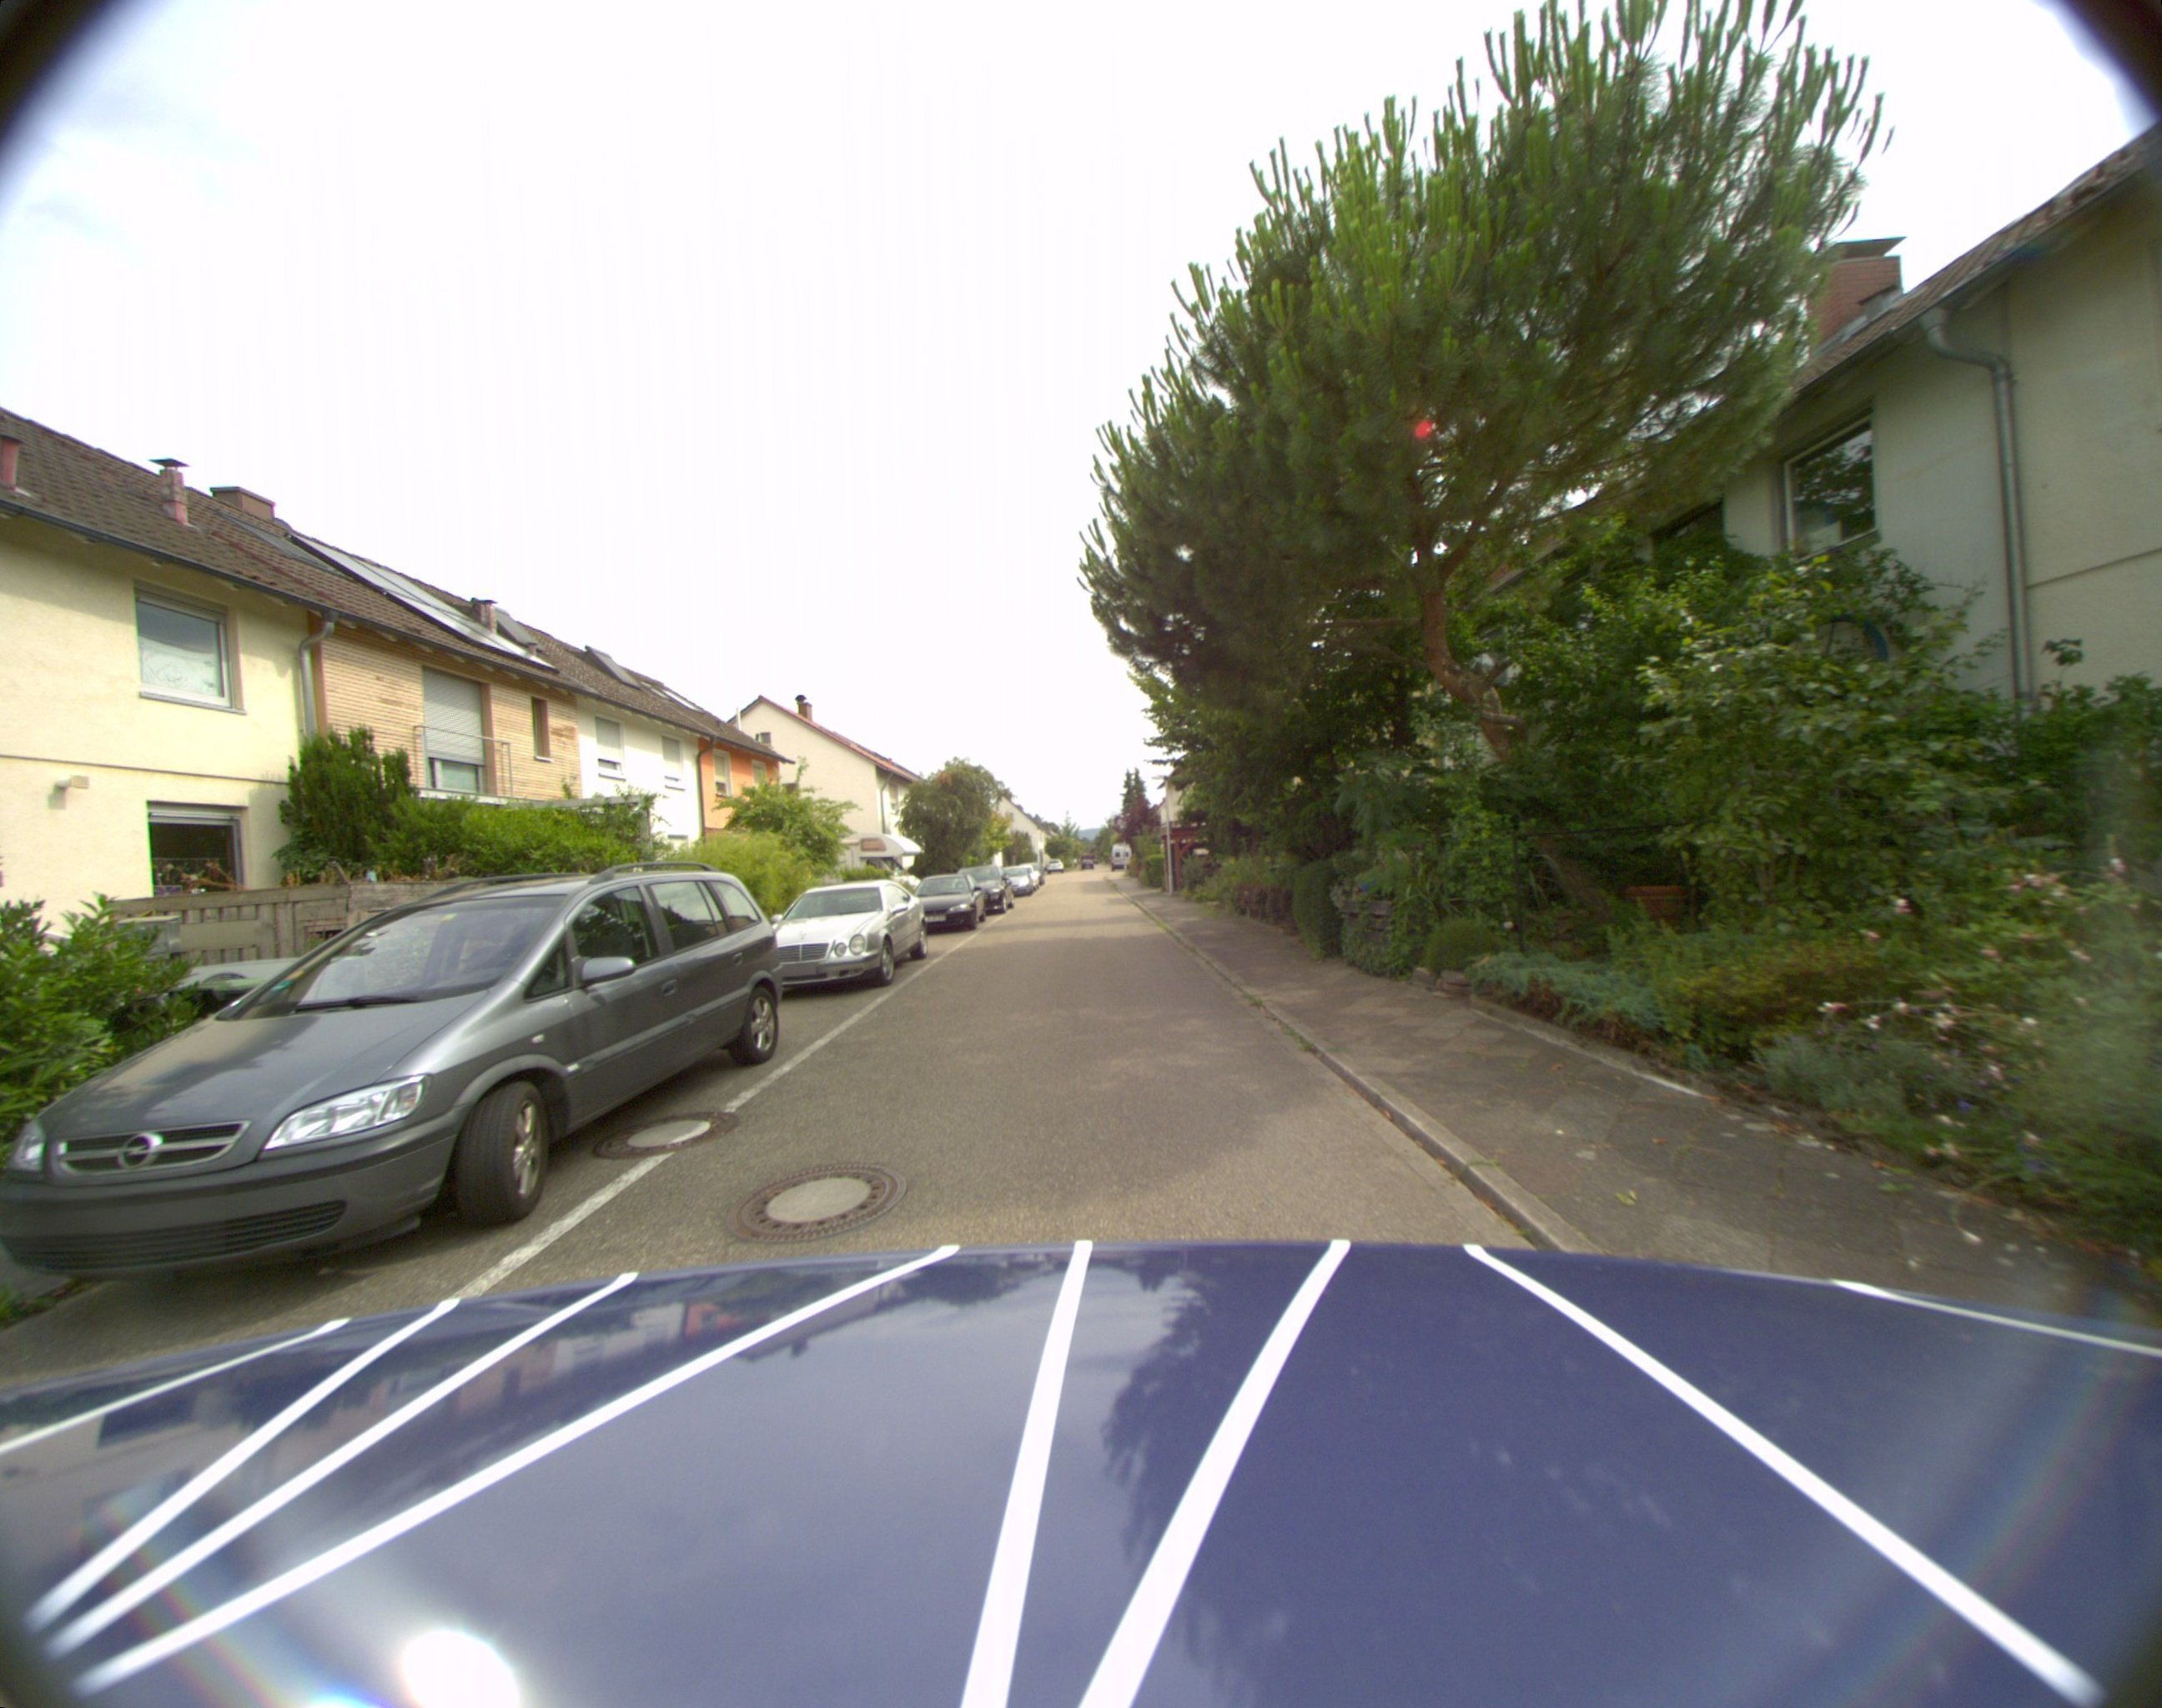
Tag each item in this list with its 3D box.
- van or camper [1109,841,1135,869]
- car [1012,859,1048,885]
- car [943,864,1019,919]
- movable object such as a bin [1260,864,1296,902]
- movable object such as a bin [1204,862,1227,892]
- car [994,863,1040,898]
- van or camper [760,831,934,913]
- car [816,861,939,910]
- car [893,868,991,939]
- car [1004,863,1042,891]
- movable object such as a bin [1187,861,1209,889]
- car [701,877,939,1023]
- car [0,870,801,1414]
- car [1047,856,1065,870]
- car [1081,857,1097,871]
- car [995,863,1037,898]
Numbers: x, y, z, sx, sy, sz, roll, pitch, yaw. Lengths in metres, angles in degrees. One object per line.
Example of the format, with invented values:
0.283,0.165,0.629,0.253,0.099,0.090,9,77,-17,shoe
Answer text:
4.316,0.124,80.160,2.346,2.719,5.748,-4,0,1,van or camper
-3.250,1.121,49.292,1.872,1.431,4.850,-4,0,1,car
-3.143,1.125,24.686,1.753,1.458,4.647,-4,0,0,car
5.283,0.771,20.432,0.713,0.951,0.751,-3,0,0,movable object such as a bin
5.289,0.888,29.883,0.705,1.123,0.877,-2,0,0,movable object such as a bin
-3.068,1.249,37.110,1.746,1.462,4.217,-3,0,1,car
-8.973,0.678,29.571,5.812,2.801,2.537,-3,0,3,van or camper
-8.472,1.288,31.884,4.541,1.698,1.899,-4,0,3,car
-3.334,1.144,19.030,1.737,1.419,4.125,-4,0,-2,car
-3.185,1.236,42.604,1.697,1.357,4.698,-4,0,0,car
4.592,0.816,29.871,0.705,1.065,0.822,-2,0,0,movable object such as a bin
-3.451,1.183,11.164,1.872,1.399,4.767,-5,0,-2,car
-3.502,1.017,4.723,1.872,1.644,4.463,-4,0,-2,car
-2.954,1.044,89.823,1.999,1.589,3.999,-4,0,-3,car
1.196,1.415,109.183,1.998,1.696,4.001,-4,0,4,car
-3.118,1.240,37.009,1.708,1.434,4.219,-5,0,-2,car
